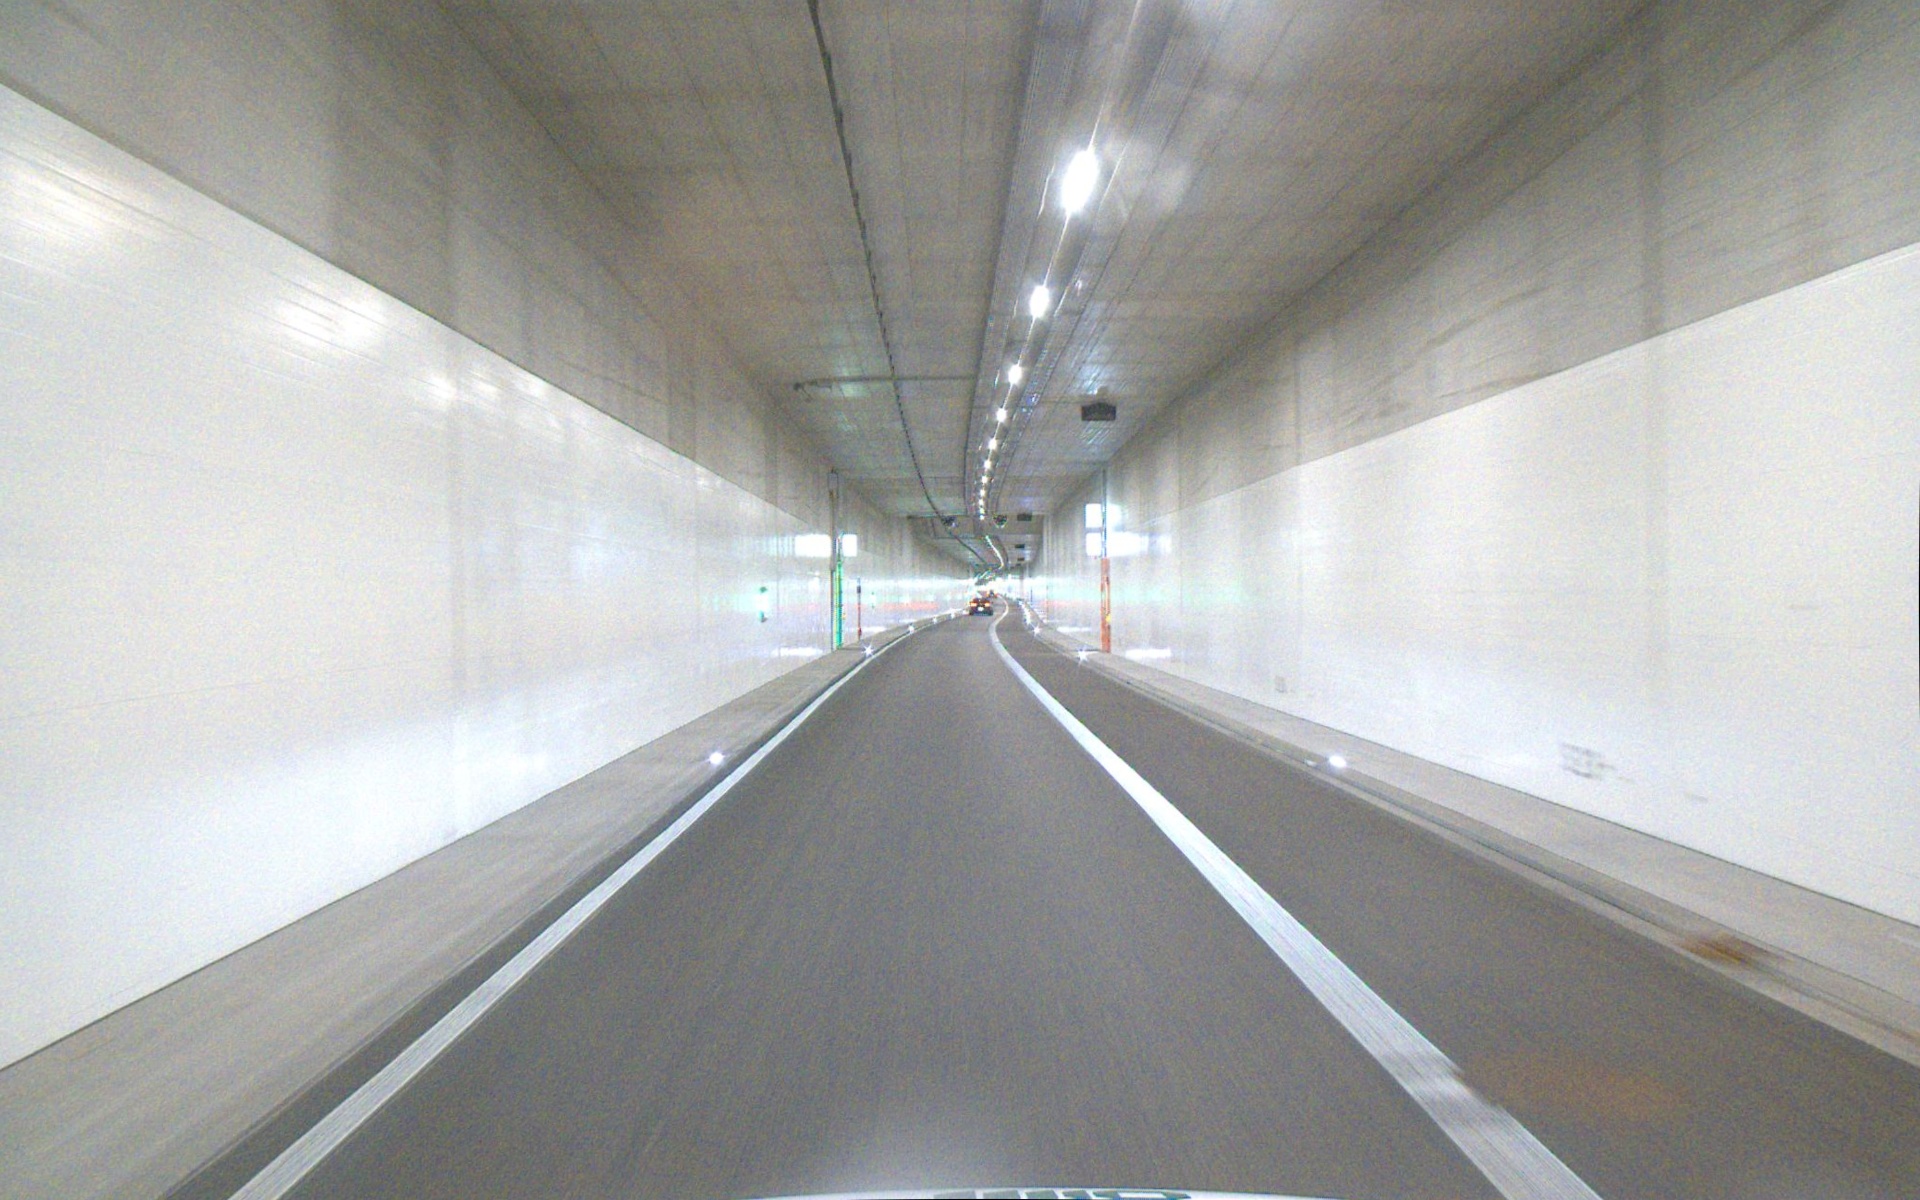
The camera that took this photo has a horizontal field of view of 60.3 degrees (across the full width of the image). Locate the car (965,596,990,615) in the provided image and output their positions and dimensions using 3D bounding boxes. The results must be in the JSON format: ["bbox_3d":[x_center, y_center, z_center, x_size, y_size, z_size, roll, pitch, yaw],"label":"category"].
[{"bbox_3d":[1.382,0.443,133.109,1.953,1.445,4.000,0,0,0],"label":"car"}]
